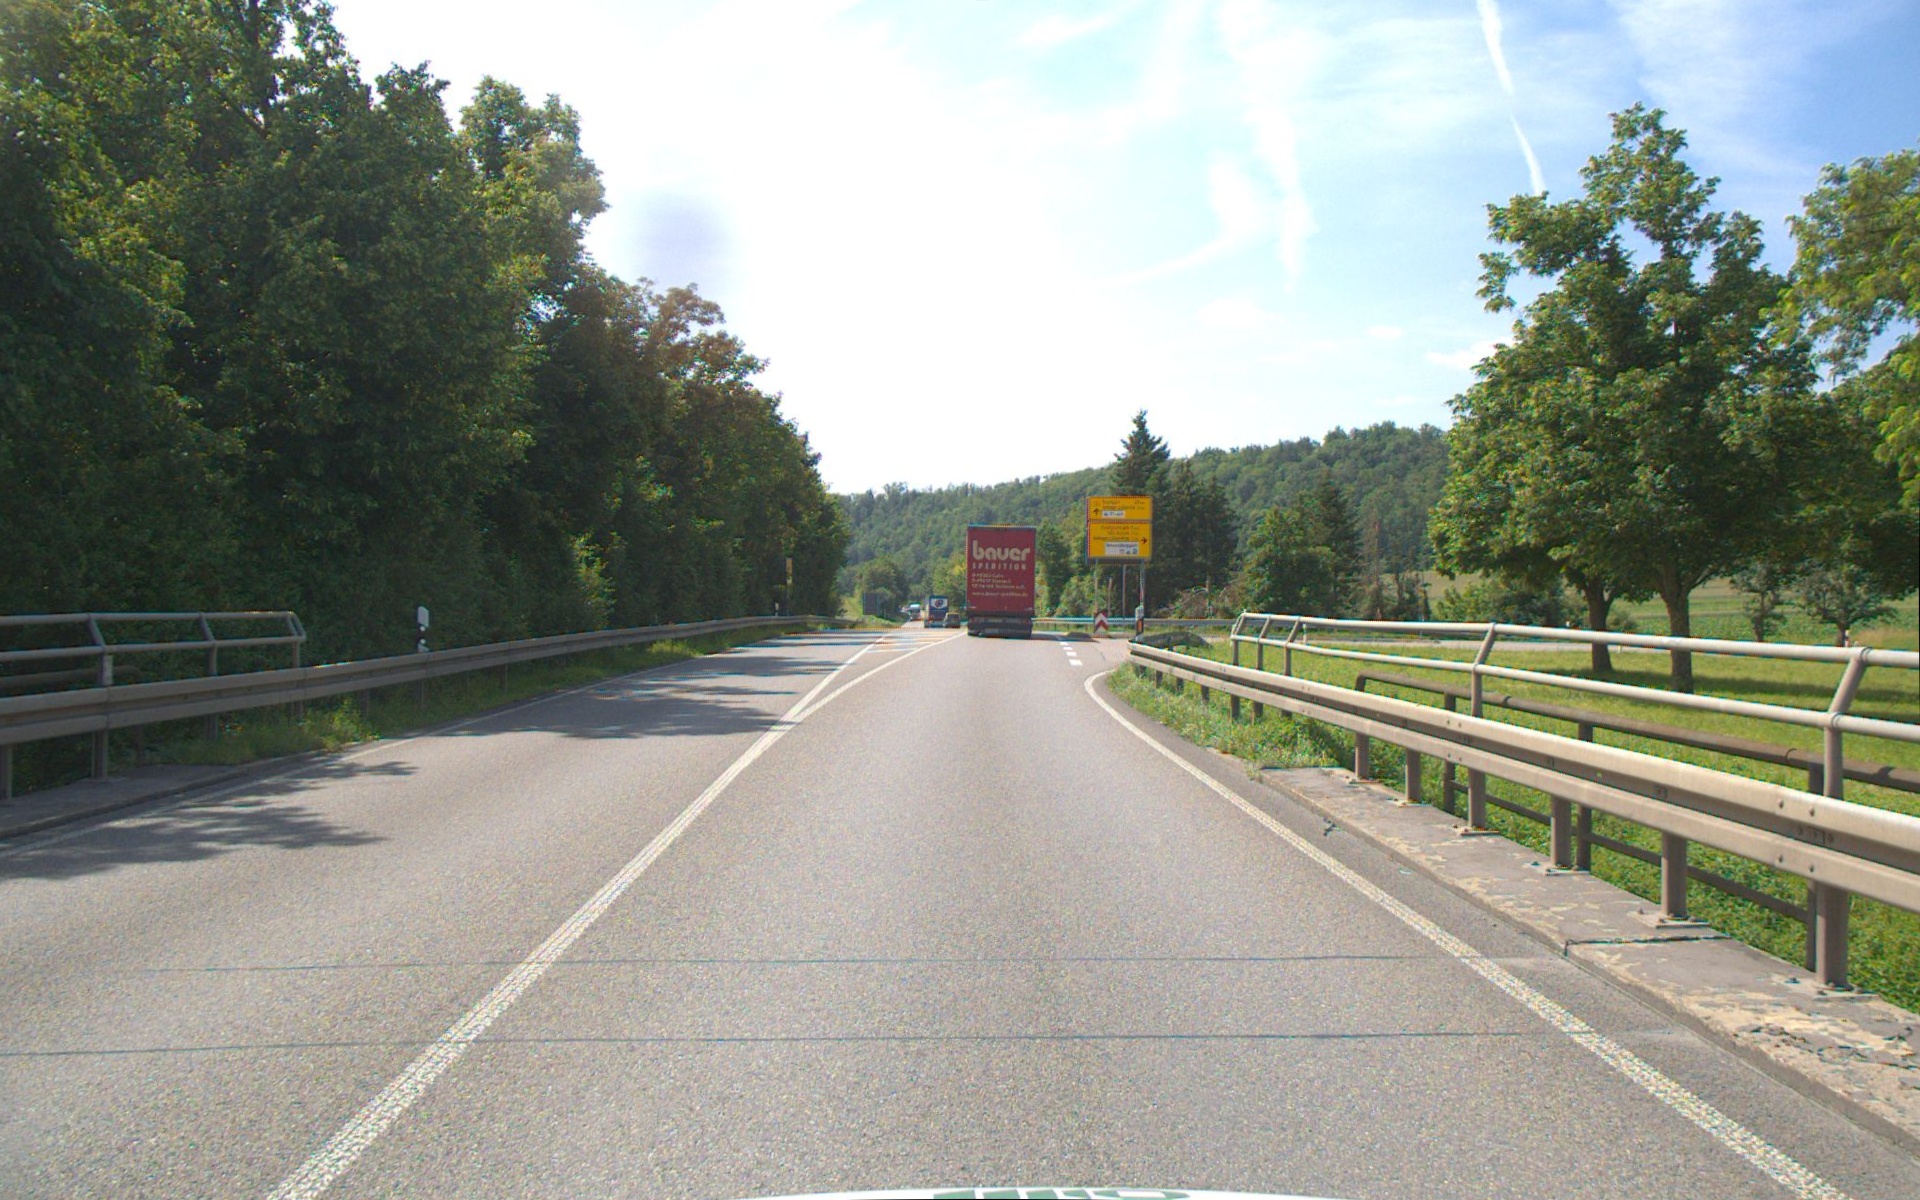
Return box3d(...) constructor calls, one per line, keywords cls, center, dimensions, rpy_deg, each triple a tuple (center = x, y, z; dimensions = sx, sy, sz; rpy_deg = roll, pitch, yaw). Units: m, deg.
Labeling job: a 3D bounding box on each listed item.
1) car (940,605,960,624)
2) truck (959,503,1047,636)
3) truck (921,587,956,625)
box3d(cls="car", center=(-1.140, 1.585, 181.610), dimensions=(1.954, 1.842, 3.997), rpy_deg=(4, -1, -3))
box3d(cls="truck", center=(1.659, -1.076, 65.917), dimensions=(3.107, 4.706, 13.544), rpy_deg=(1, 0, 1))
box3d(cls="truck", center=(-2.852, 0.847, 212.633), dimensions=(3.827, 4.446, 13.284), rpy_deg=(3, -1, -3))
